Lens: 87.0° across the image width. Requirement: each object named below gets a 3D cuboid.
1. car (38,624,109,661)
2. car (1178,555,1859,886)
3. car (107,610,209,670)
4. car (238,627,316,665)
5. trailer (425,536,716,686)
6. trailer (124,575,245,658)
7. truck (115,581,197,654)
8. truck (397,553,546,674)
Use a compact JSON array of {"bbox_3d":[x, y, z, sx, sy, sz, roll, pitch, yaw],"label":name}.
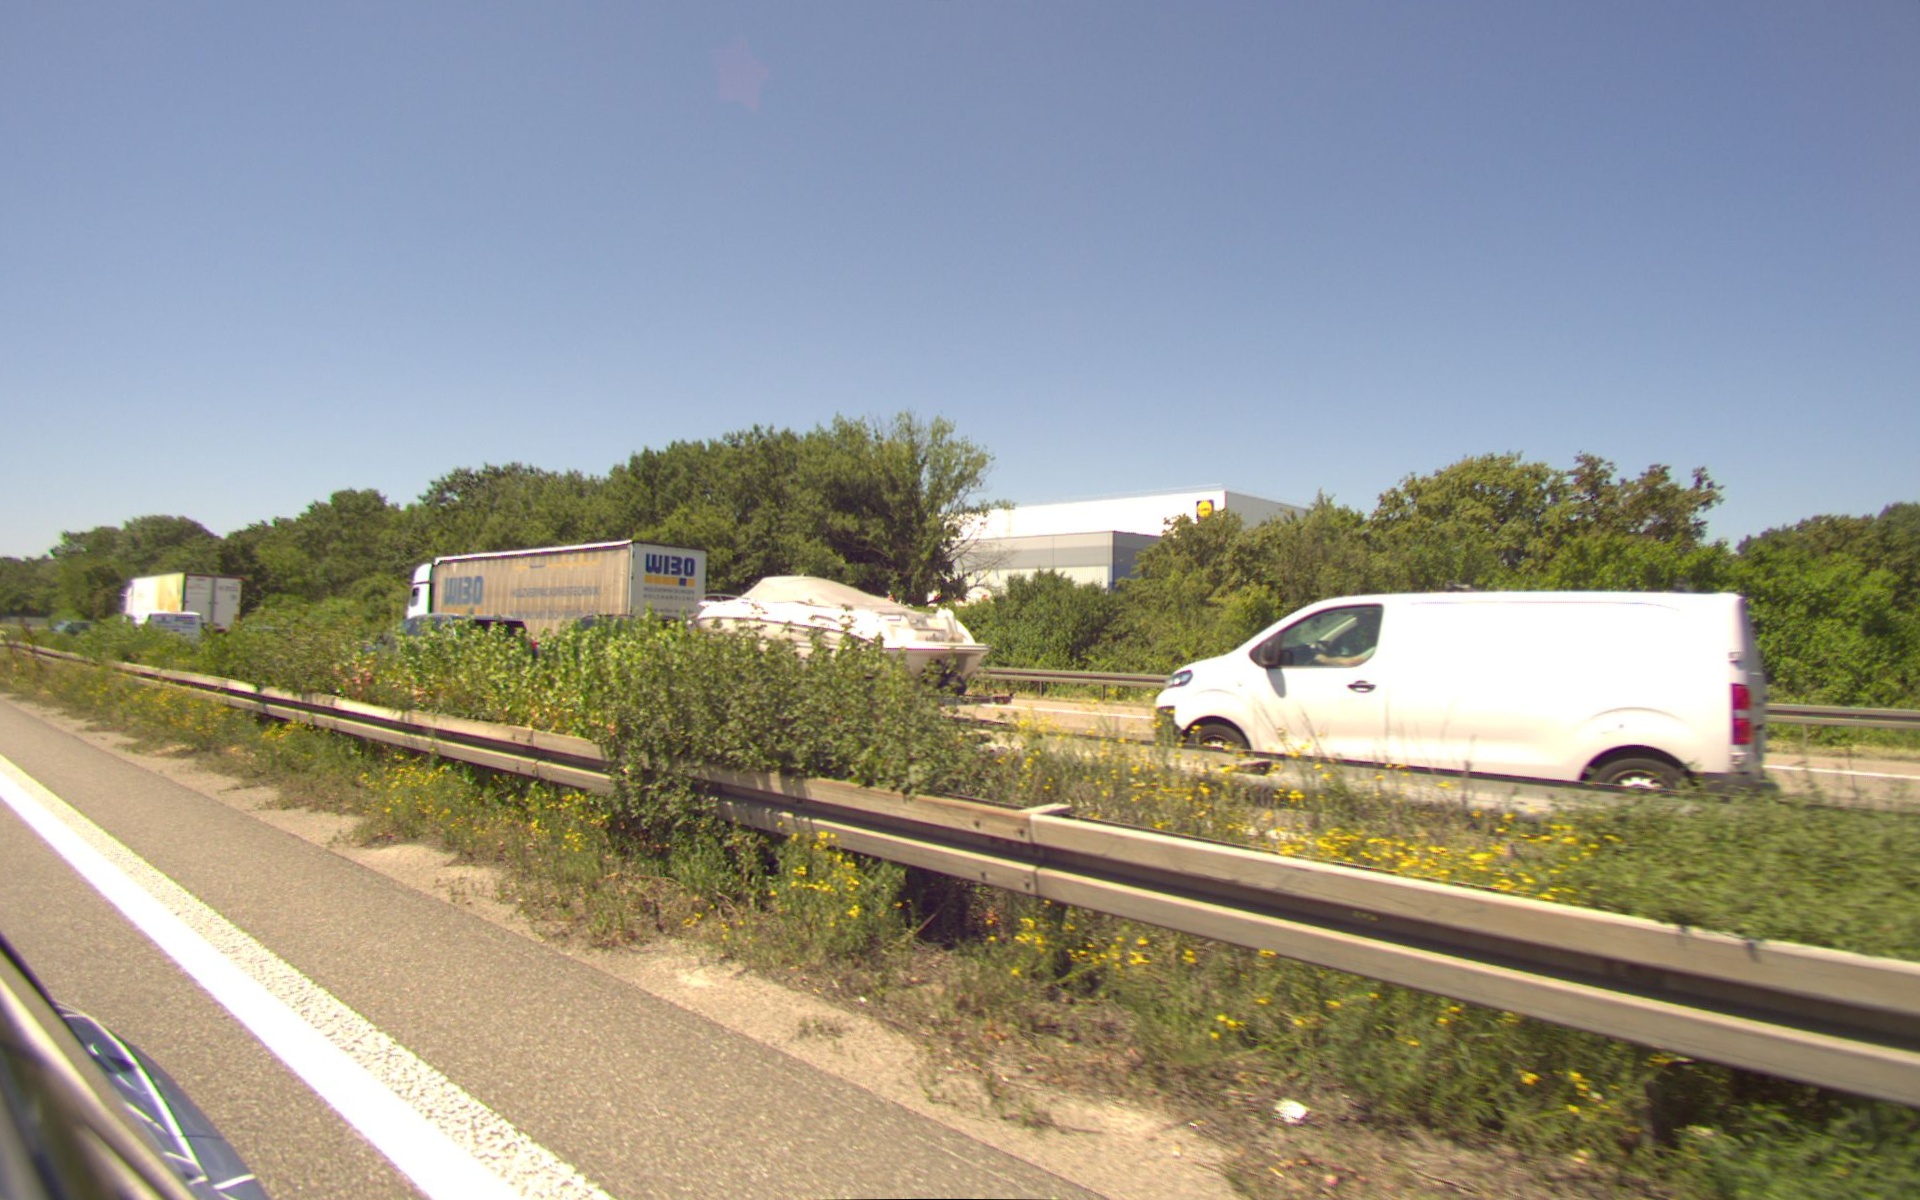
[{"bbox_3d":[-44.262,2.087,50.504,4.798,1.706,1.939,-1,0,40],"label":"car"},{"bbox_3d":[4.471,0.788,8.672,4.708,2.088,1.974,-1,0,39],"label":"car"},{"bbox_3d":[-29.470,1.414,37.119,5.487,2.046,1.973,-1,0,41],"label":"car"},{"bbox_3d":[-27.443,1.830,40.624,3.965,1.397,1.556,-1,-4,41],"label":"car"},{"bbox_3d":[-13.438,0.482,33.563,14.048,4.134,2.728,-1,-4,42],"label":"trailer"},{"bbox_3d":[-43.133,0.991,55.972,14.344,4.116,2.710,-1,-4,43],"label":"trailer"},{"bbox_3d":[-48.289,1.097,60.721,6.216,4.116,2.710,-1,-4,42],"label":"truck"},{"bbox_3d":[-18.389,0.572,37.965,6.150,4.134,2.728,-1,-4,42],"label":"truck"}]
